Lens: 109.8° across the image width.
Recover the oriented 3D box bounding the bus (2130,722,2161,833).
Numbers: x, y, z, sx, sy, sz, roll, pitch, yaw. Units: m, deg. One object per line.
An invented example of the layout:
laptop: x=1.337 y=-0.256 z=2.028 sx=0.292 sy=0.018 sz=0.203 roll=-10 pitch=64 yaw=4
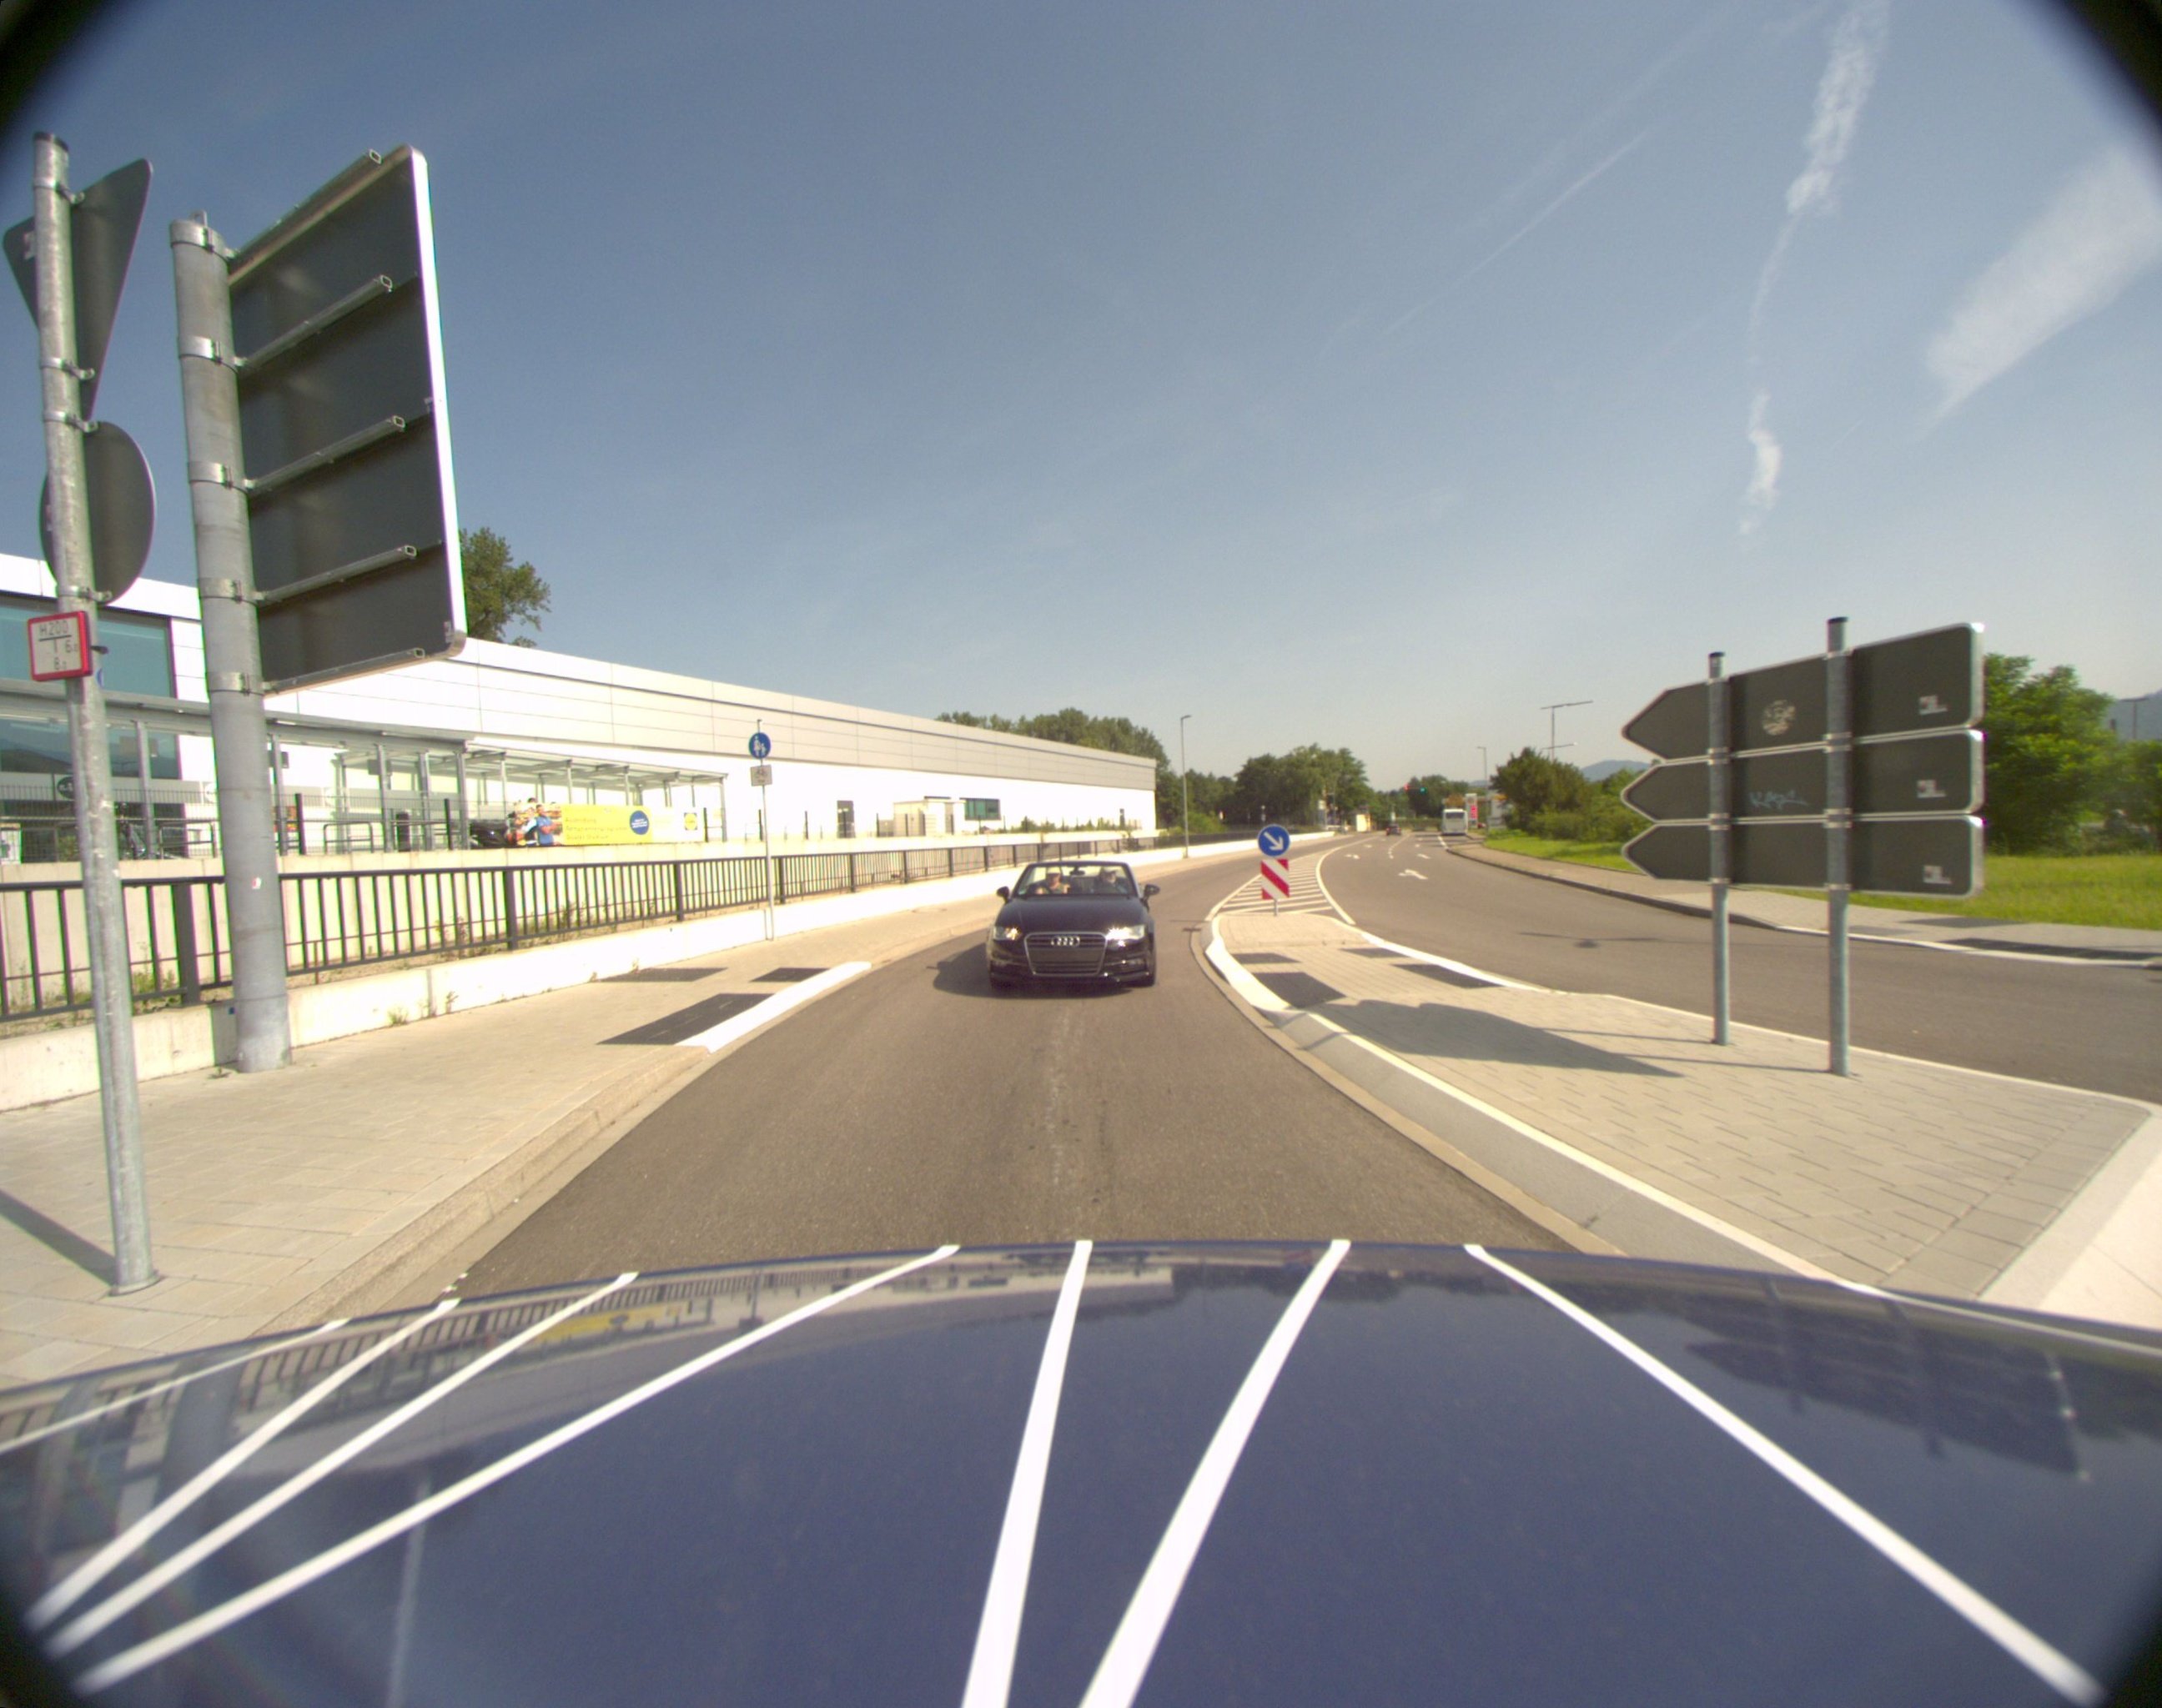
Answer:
bus: x=30.164 y=-2.031 z=16.263 sx=3.068 sy=3.106 sz=11.735 roll=-2 pitch=1 yaw=21

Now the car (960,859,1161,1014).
car: x=0.001 y=0.815 z=9.377 sx=1.868 sy=1.323 sz=4.233 roll=-3 pitch=1 yaw=6

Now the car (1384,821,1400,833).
car: x=41.468 y=-3.626 z=101.212 sx=1.773 sy=1.465 sz=4.225 roll=-1 pitch=3 yaw=26

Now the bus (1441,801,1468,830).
bus: x=45.753 y=-4.724 z=93.382 sx=2.623 sy=3.292 sz=11.971 roll=-1 pitch=3 yaw=25

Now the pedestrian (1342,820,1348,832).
pedestrian: x=38.167 y=-4.028 z=109.884 sx=0.711 sy=1.662 sz=0.593 roll=-1 pitch=3 yaw=18
